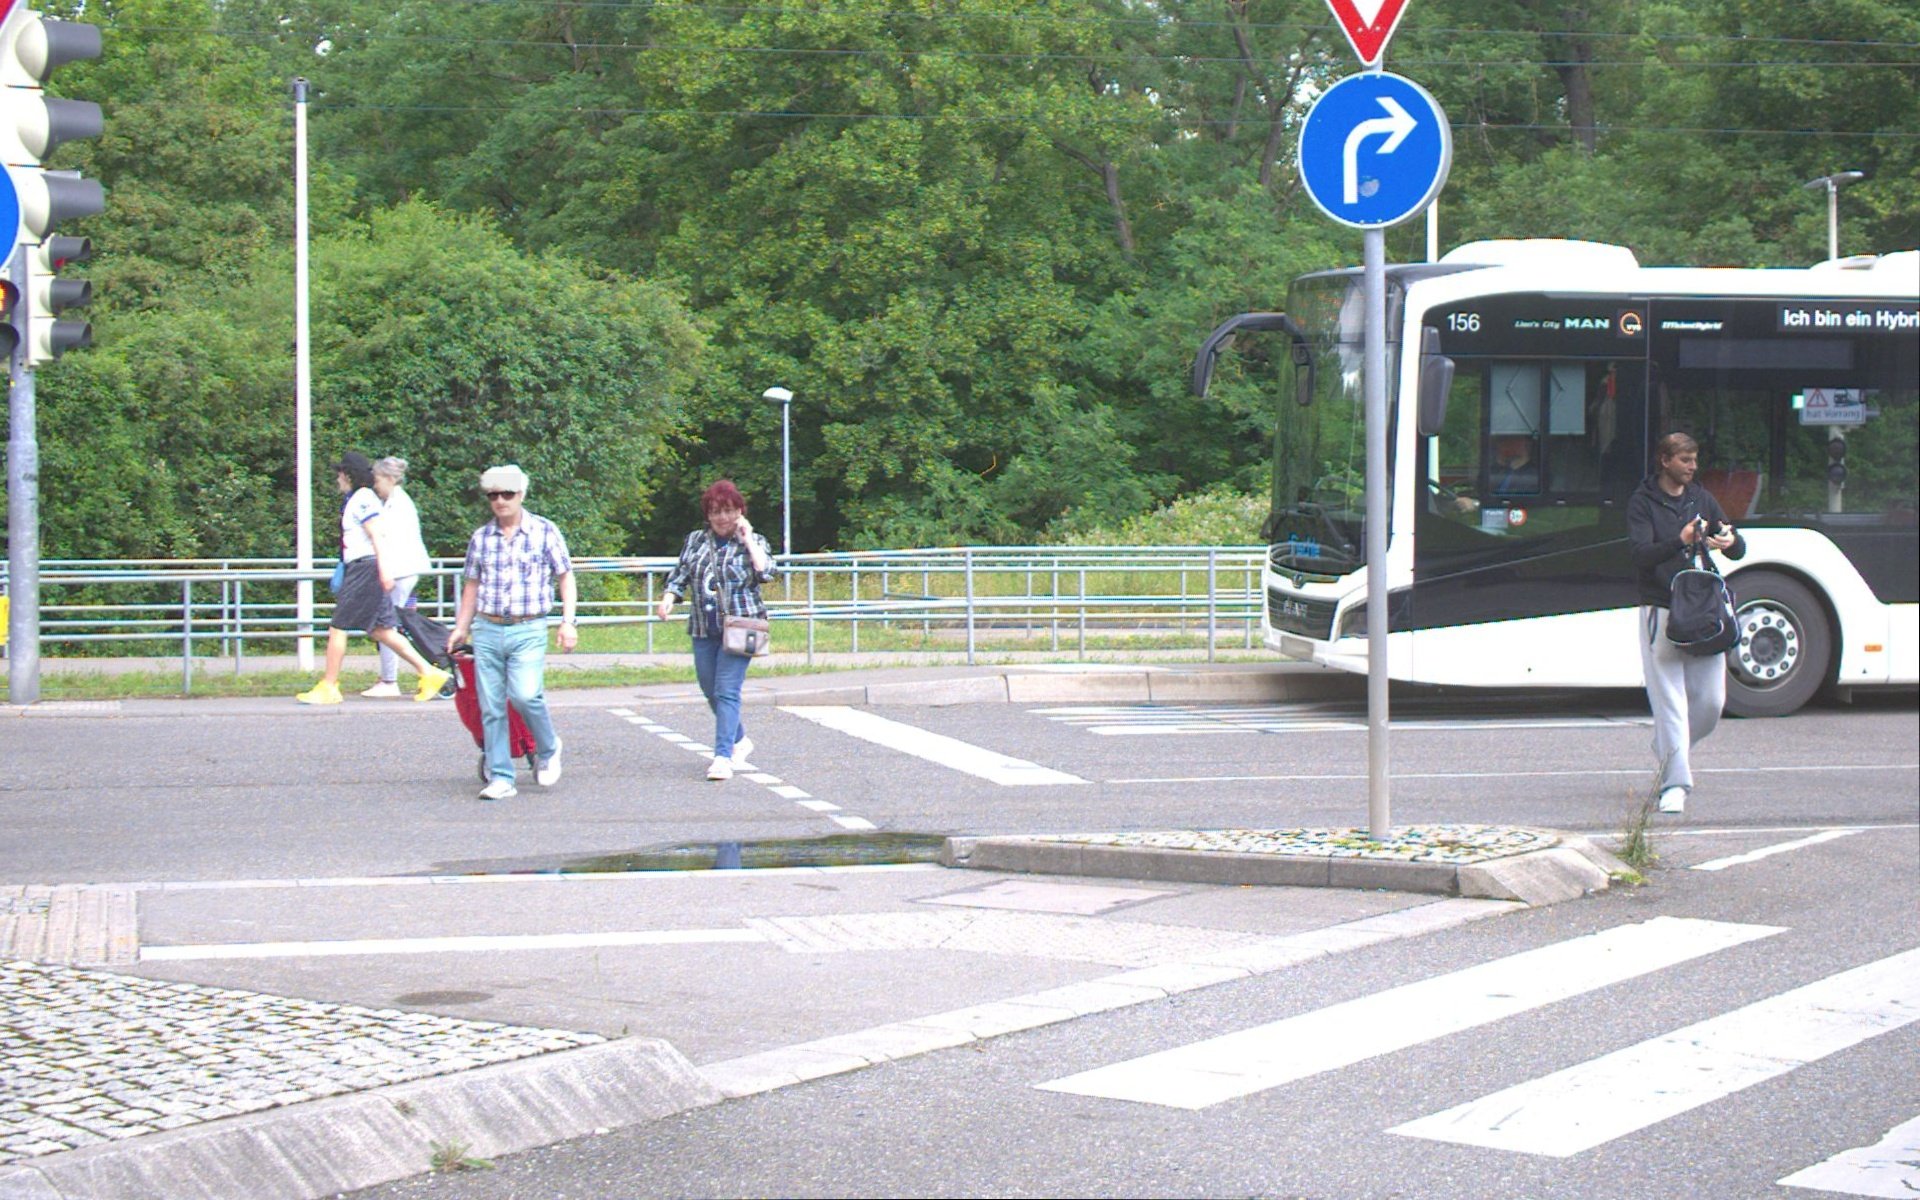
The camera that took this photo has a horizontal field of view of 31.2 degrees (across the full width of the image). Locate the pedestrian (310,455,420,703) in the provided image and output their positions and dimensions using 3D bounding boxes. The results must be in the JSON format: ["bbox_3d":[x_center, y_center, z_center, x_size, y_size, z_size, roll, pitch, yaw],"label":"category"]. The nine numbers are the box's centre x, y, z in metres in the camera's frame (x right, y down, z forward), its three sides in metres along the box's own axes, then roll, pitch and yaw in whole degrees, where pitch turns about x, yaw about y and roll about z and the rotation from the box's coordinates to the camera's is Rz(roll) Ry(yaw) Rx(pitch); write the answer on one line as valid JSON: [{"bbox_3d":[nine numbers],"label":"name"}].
[{"bbox_3d":[-4.251,-0.156,24.608,0.720,1.741,0.958,0,1,-7],"label":"pedestrian"}]

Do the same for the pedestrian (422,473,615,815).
[{"bbox_3d":[-2.161,0.198,16.813,0.720,1.628,0.699,-1,1,-29],"label":"pedestrian"}]

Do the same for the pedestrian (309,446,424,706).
[{"bbox_3d":[-4.059,-0.168,23.560,0.720,1.741,0.958,0,1,-7],"label":"pedestrian"}]

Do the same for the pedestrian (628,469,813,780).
[{"bbox_3d":[-1.242,0.114,17.766,0.730,1.561,0.692,0,1,-27],"label":"pedestrian"}]

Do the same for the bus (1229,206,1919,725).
[{"bbox_3d":[8.086,-0.908,23.749,12.156,3.192,2.676,0,1,-12],"label":"bus"}]

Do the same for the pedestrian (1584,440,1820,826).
[{"bbox_3d":[3.455,0.137,16.111,0.954,1.741,1.062,1,1,6],"label":"pedestrian"}]
